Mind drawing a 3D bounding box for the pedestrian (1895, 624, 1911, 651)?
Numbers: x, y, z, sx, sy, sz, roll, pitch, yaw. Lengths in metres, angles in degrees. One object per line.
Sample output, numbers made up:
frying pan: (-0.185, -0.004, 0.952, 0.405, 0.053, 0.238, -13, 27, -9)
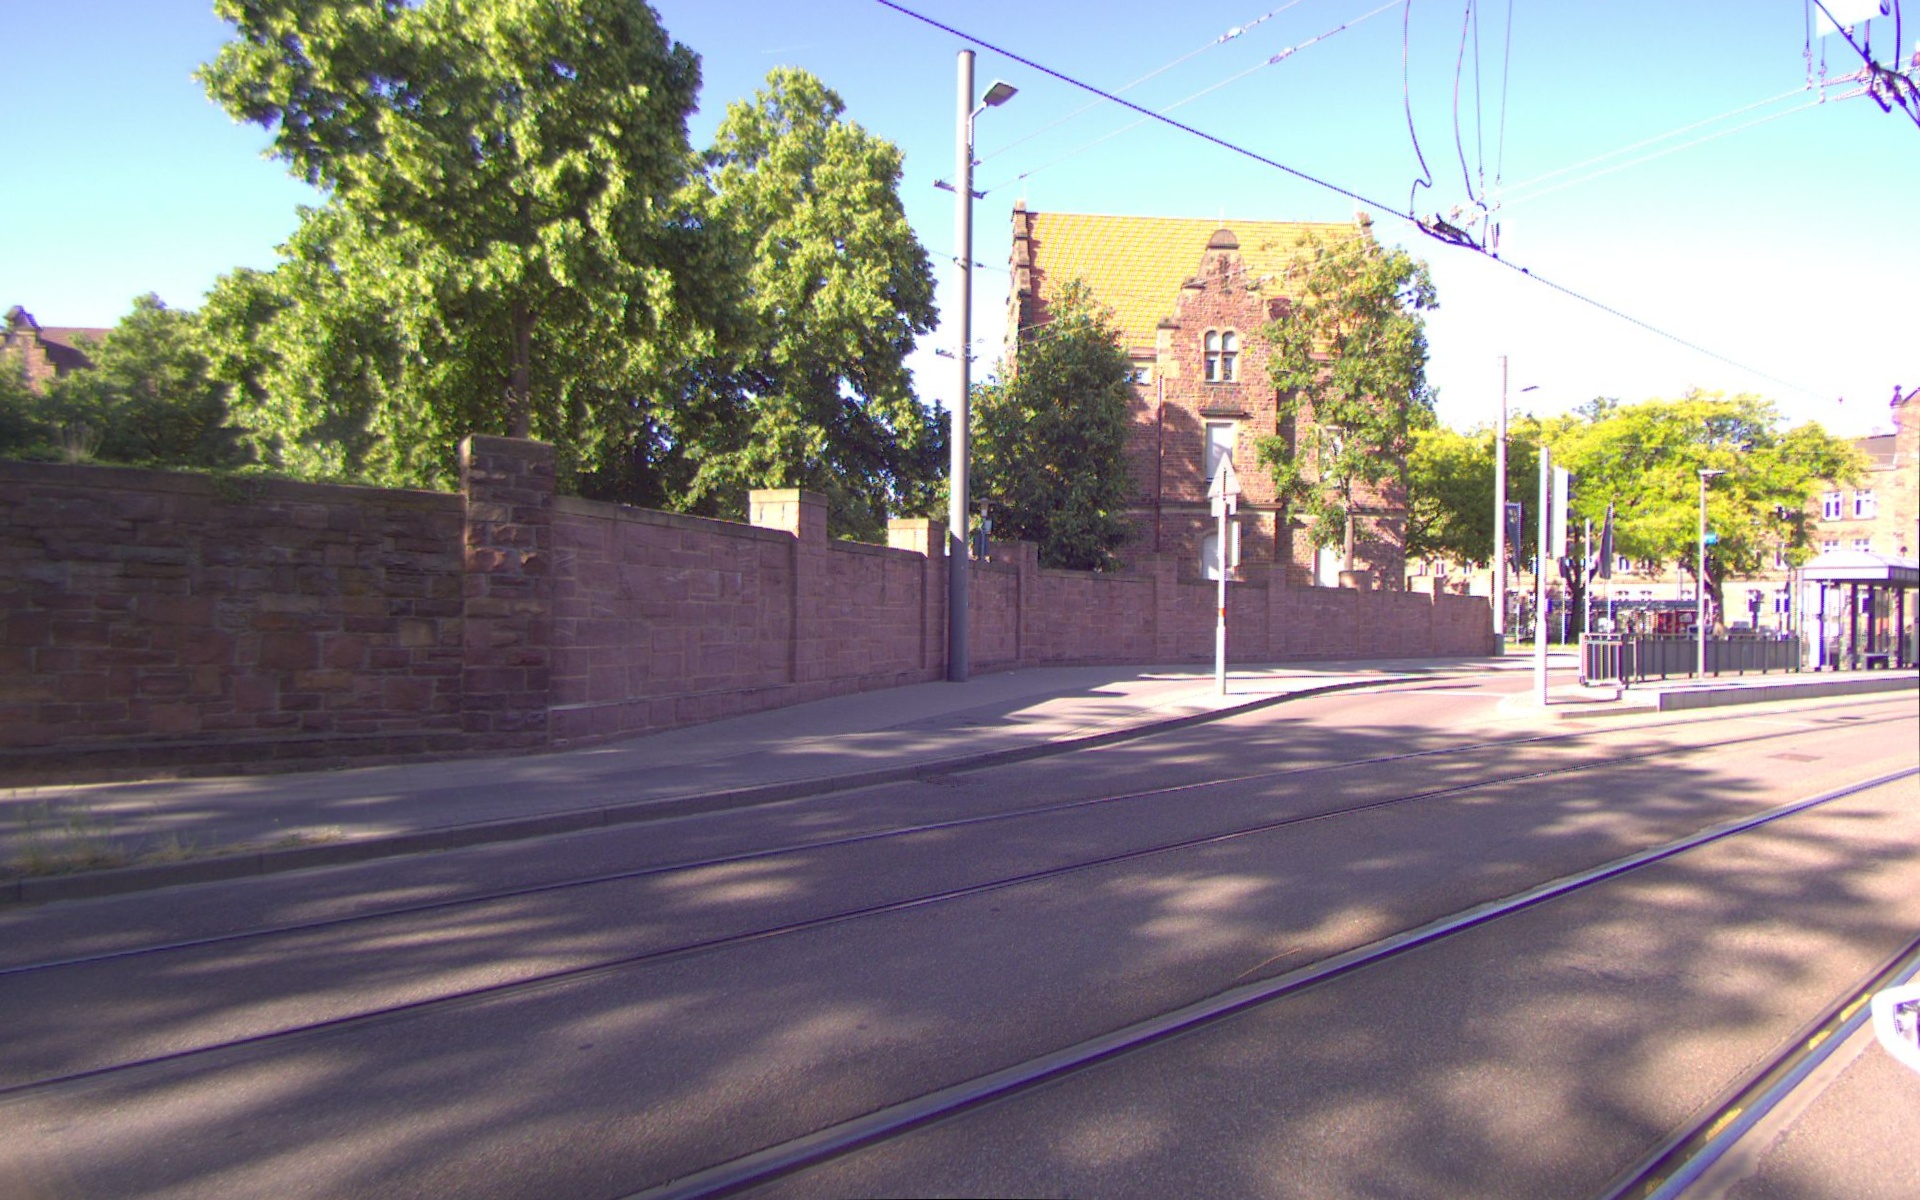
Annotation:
pedestrian: (63.758, 2.529, 67.904, 0.758, 1.797, 0.716, 2, 0, 44)

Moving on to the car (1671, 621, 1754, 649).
car: (49.188, 2.248, 65.682, 1.798, 1.651, 3.964, 2, 0, -32)

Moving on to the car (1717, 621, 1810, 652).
car: (47.763, 2.166, 59.798, 1.798, 1.651, 3.964, 2, 0, -32)

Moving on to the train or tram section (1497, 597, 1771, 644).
train or tram section: (50.039, 1.465, 75.887, 3.312, 3.196, 17.280, 2, -1, -33)
